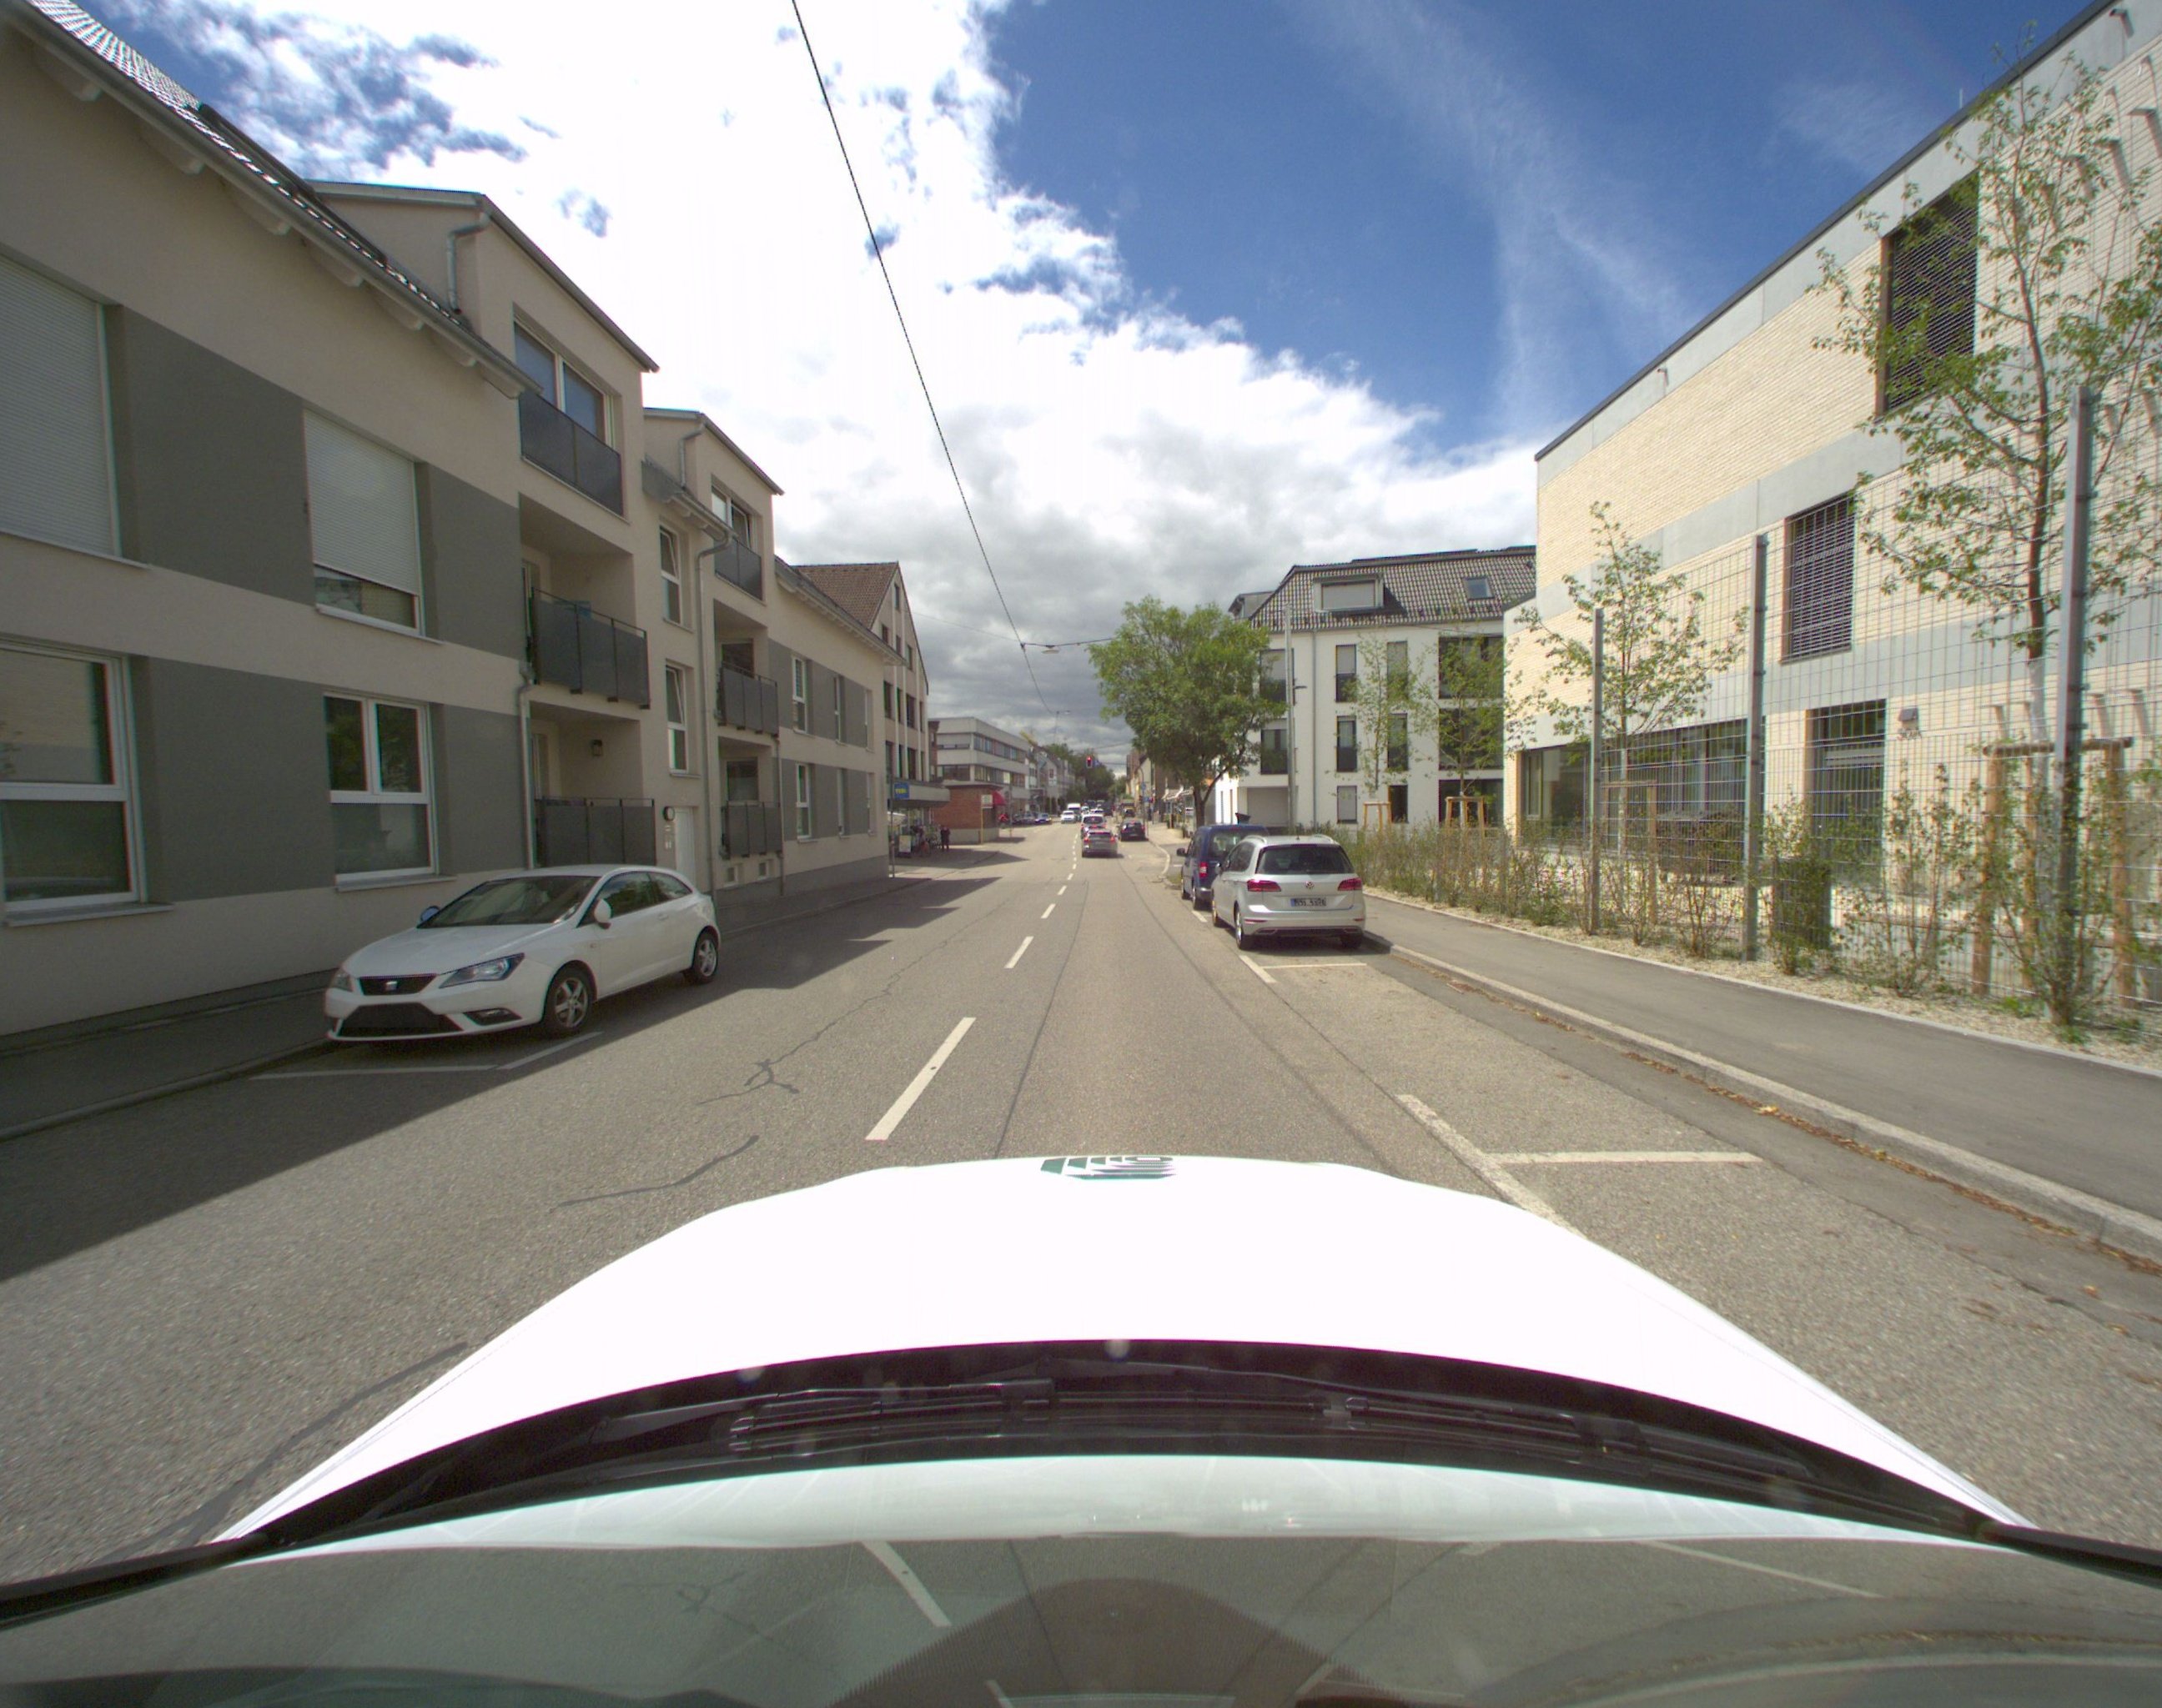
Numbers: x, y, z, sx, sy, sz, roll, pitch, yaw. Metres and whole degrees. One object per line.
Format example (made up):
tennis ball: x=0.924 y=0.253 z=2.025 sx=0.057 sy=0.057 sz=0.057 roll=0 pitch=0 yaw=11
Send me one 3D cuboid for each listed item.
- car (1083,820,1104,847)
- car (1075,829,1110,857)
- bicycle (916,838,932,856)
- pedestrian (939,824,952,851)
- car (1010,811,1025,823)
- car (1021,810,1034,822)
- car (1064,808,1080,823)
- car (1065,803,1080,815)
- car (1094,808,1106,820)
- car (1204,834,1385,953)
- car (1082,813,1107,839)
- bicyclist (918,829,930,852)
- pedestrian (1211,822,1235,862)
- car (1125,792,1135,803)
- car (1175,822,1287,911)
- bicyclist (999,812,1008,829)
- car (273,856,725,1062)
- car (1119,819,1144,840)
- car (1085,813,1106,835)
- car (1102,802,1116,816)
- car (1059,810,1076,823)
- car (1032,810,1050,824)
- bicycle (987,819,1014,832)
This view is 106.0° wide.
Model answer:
car: x=0.823 y=-1.349 z=52.973 sx=1.269 sy=1.526 sz=3.052 roll=-1 pitch=4 yaw=1
car: x=0.659 y=-0.610 z=43.498 sx=1.737 sy=1.416 sz=4.002 roll=-1 pitch=2 yaw=2
bicycle: x=-8.208 y=-0.395 z=42.641 sx=0.465 sy=0.861 sz=1.778 roll=0 pitch=3 yaw=1
pedestrian: x=-7.964 y=-0.986 z=47.892 sx=0.624 sy=1.602 sz=0.564 roll=0 pitch=1 yaw=7
car: x=-7.967 y=-4.670 z=102.008 sx=1.546 sy=1.376 sz=3.400 roll=-1 pitch=1 yaw=2
car: x=-6.995 y=-4.984 z=107.108 sx=1.379 sy=1.540 sz=3.400 roll=-1 pitch=1 yaw=2
car: x=-1.259 y=-5.280 z=112.911 sx=1.986 sy=2.013 sz=4.002 roll=0 pitch=1 yaw=1
car: x=-1.240 y=-6.659 z=120.387 sx=1.864 sy=1.640 sz=4.005 roll=-1 pitch=1 yaw=4
car: x=2.886 y=-6.035 z=123.028 sx=1.630 sy=1.655 sz=3.852 roll=-1 pitch=1 yaw=2
car: x=3.064 y=0.463 z=12.625 sx=1.779 sy=1.509 sz=4.367 roll=-1 pitch=1 yaw=2
car: x=1.046 y=-2.170 z=62.858 sx=1.830 sy=1.861 sz=3.853 roll=0 pitch=4 yaw=1
bicyclist: x=-8.228 y=-0.698 z=42.646 sx=0.456 sy=1.178 sz=0.625 roll=-1 pitch=2 yaw=1
pedestrian: x=5.956 y=-0.515 z=34.237 sx=0.742 sy=1.647 sz=0.610 roll=-3 pitch=1 yaw=-32
car: x=9.418 y=-10.865 z=156.691 sx=1.795 sy=2.013 sz=4.002 roll=-1 pitch=1 yaw=2
car: x=3.260 y=0.201 z=18.501 sx=1.837 sy=1.767 sz=4.517 roll=-1 pitch=1 yaw=2
bicyclist: x=-7.574 y=-3.271 z=79.622 sx=0.769 sy=1.606 sz=0.581 roll=-1 pitch=1 yaw=3
car: x=-5.078 y=0.773 z=7.829 sx=1.642 sy=1.418 sz=3.699 roll=0 pitch=1 yaw=0
car: x=3.659 y=-1.800 z=59.140 sx=1.746 sy=1.370 sz=4.004 roll=-1 pitch=3 yaw=3
car: x=1.330 y=-2.698 z=73.576 sx=1.830 sy=1.861 sz=3.852 roll=0 pitch=1 yaw=1
car: x=4.840 y=-7.943 z=142.930 sx=2.427 sy=2.318 sz=5.329 roll=0 pitch=2 yaw=1
car: x=-1.779 y=-4.863 z=105.900 sx=1.865 sy=1.639 sz=4.005 roll=0 pitch=1 yaw=4
car: x=-5.030 y=-4.672 z=102.589 sx=1.865 sy=1.639 sz=4.005 roll=0 pitch=1 yaw=4
bicycle: x=-7.848 y=-2.815 z=79.641 sx=2.512 sy=1.174 sz=0.586 roll=-2 pitch=1 yaw=4
